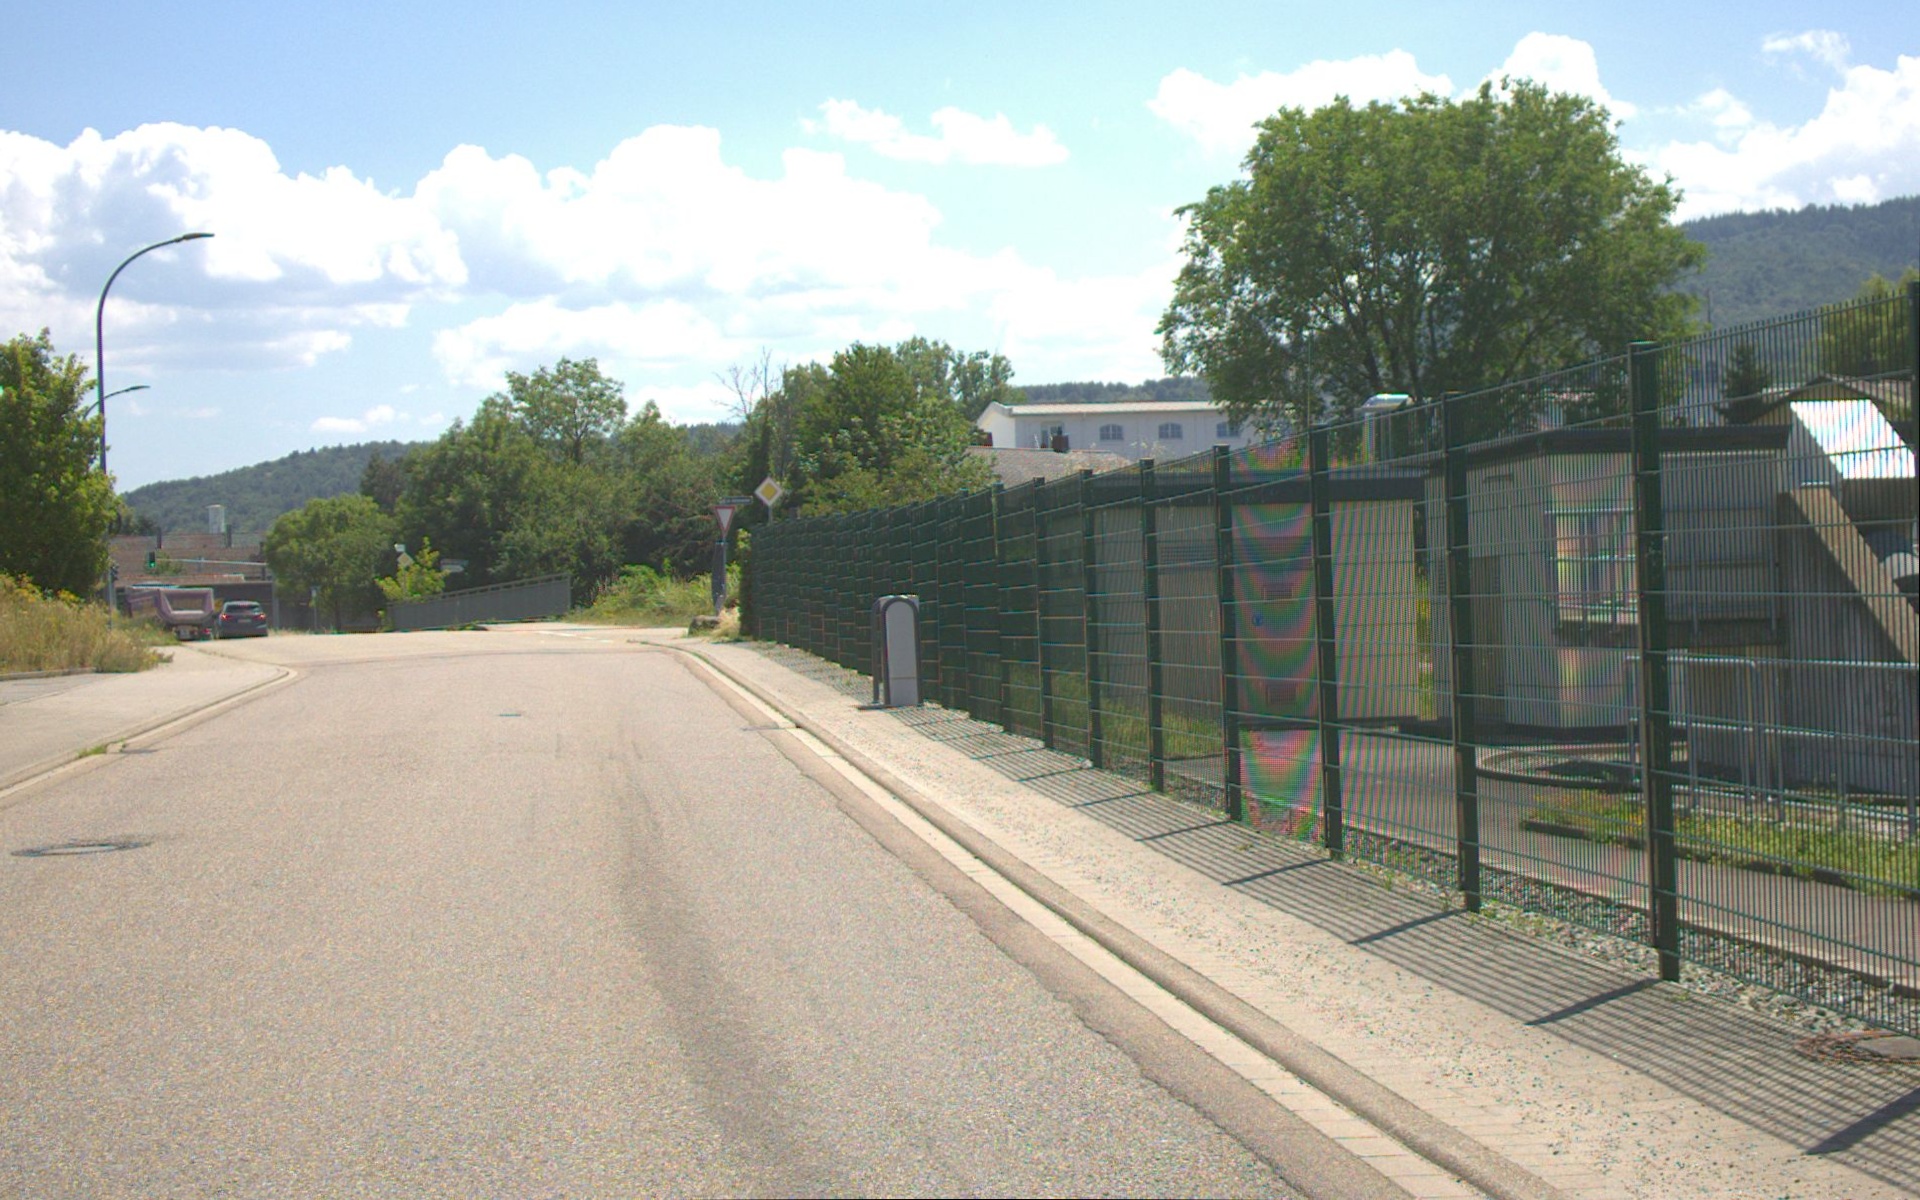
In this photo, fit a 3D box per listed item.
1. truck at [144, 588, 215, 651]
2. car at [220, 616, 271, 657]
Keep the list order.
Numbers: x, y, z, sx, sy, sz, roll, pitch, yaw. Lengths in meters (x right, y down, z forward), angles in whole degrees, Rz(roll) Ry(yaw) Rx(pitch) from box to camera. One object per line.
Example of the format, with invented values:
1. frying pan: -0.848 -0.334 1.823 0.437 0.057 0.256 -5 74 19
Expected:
1. truck: -35.702 0.870 157.147 2.682 2.763 6.091 0 1 -17
2. car: -26.863 1.357 129.191 1.775 1.443 3.453 0 1 -13
